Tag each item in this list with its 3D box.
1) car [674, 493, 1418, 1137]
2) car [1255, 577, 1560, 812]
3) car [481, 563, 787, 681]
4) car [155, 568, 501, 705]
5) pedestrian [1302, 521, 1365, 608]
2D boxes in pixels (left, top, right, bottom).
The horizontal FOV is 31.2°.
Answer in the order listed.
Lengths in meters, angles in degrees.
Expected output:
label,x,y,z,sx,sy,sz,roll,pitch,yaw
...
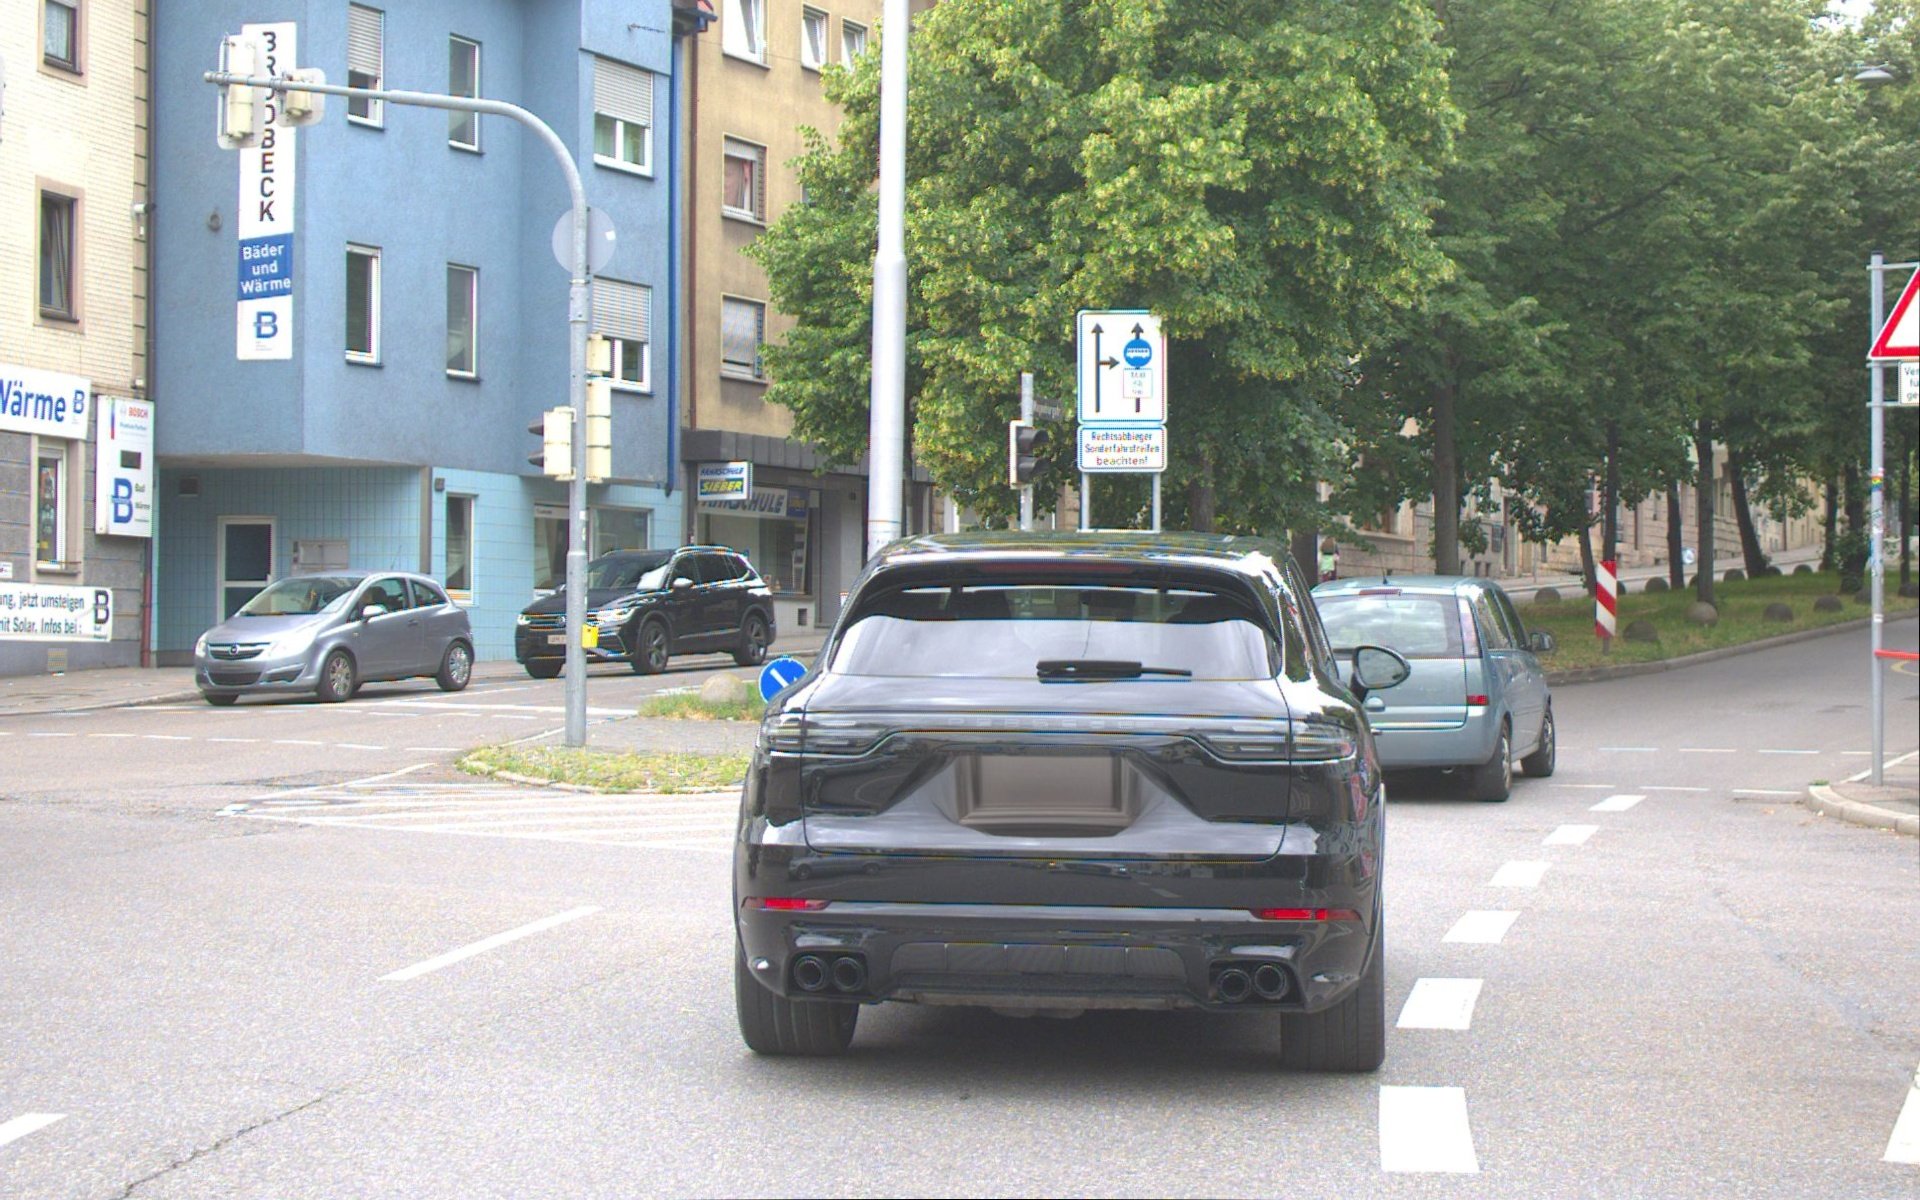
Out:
label,x,y,z,sx,sy,sz,roll,pitch,yaw
car,0.467,0.578,11.819,2.032,1.717,4.499,2,0,6
car,3.368,0.659,25.359,1.650,1.550,3.580,2,0,16
car,-4.255,0.247,45.739,1.873,1.411,4.692,0,1,26
car,-7.107,0.395,39.088,1.719,1.471,4.213,-1,0,25
pedestrian,8.724,-0.824,80.321,1.193,2.007,0.988,1,1,23
